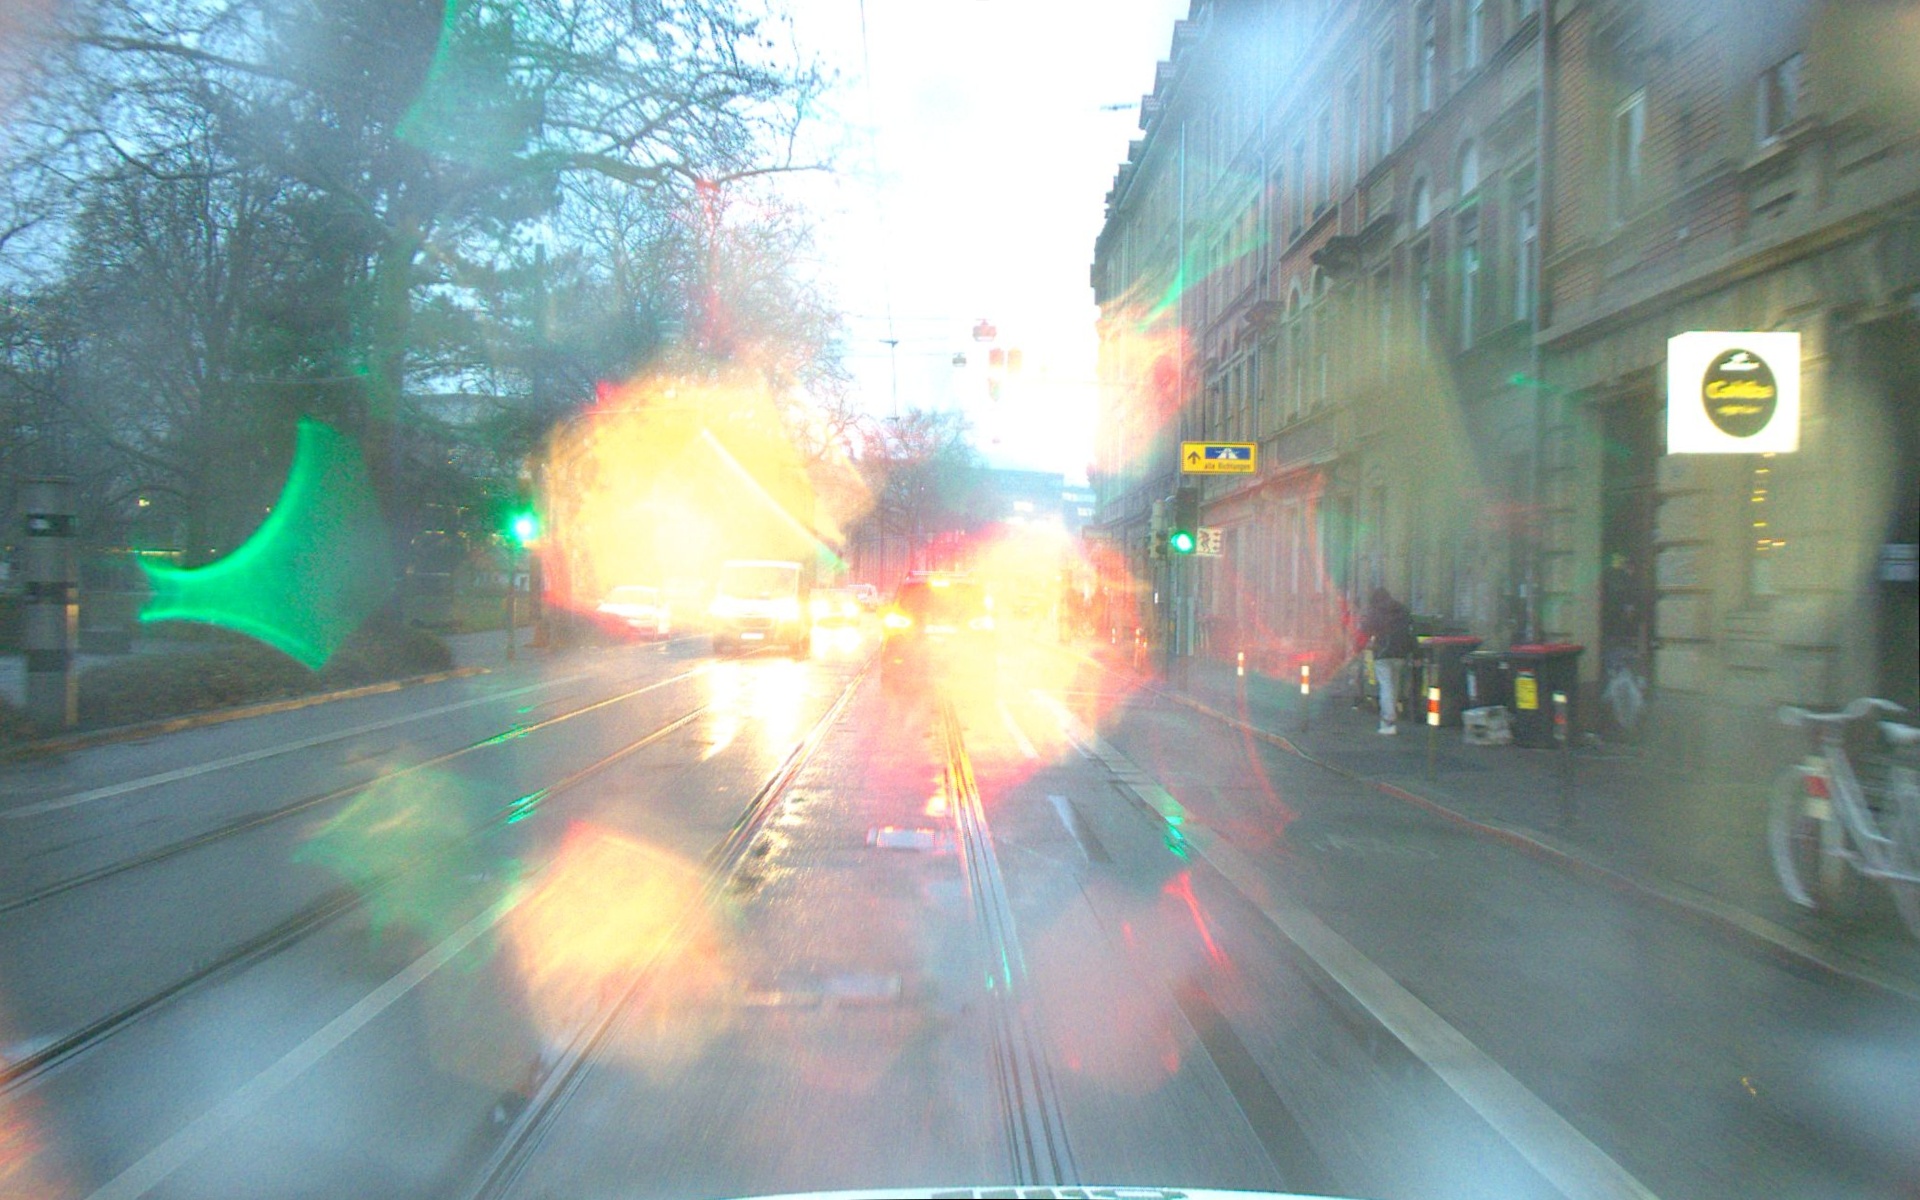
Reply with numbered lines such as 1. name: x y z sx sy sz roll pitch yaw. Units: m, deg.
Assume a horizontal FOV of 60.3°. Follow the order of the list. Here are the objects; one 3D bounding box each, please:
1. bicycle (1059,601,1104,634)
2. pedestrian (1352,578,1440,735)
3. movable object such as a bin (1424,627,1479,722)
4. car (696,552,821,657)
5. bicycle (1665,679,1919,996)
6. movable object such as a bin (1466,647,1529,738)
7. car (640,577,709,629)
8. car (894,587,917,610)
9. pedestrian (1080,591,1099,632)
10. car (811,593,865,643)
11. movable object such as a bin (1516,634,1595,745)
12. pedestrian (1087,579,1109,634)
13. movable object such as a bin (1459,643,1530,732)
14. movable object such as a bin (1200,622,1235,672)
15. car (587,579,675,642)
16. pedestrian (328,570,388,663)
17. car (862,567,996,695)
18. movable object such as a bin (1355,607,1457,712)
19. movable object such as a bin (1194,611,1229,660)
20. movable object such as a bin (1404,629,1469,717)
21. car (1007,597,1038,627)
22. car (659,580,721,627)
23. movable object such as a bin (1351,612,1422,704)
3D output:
1. bicycle: 4.469 0.645 61.070 0.781 1.164 2.230 2 0 -20
2. pedestrian: 4.971 0.630 18.905 0.817 1.731 0.954 1 -1 7
3. movable object such as a bin: 5.921 0.888 19.936 0.598 1.101 0.600 1 0 14
4. car: -4.833 0.109 40.577 2.397 2.388 5.843 0 0 -1
5. bicycle: 4.124 1.013 7.736 0.670 1.176 2.188 1 0 -1
6. movable object such as a bin: 5.740 0.980 17.659 0.482 0.945 0.421 0 0 -28
7. car: -9.806 0.107 57.126 1.945 1.643 4.424 2 0 -5
8. car: -4.871 -0.129 148.928 1.953 2.049 3.999 2 0 -1
9. pedestrian: 5.781 0.496 73.826 0.756 1.806 0.684 1 -1 -1
10. car: -5.238 0.772 71.487 1.952 2.049 4.000 1 0 1
11. movable object such as a bin: 6.146 0.915 17.070 0.605 1.099 0.486 0 0 -30
12. pedestrian: 5.099 0.240 61.295 0.701 1.987 0.657 1 -1 -1
13. movable object such as a bin: 5.882 0.955 18.221 0.599 0.945 0.491 0 0 -3
14. movable object such as a bin: 5.662 1.025 36.443 0.627 1.073 0.744 1 0 -1
15. car: -9.252 0.279 46.844 1.945 1.643 4.424 2 0 -5
16. pedestrian: -12.346 0.335 33.945 0.803 1.847 1.010 1 -1 2
17. car: -0.417 0.459 26.678 1.952 1.874 4.001 1 0 1
18. movable object such as a bin: 5.831 0.762 21.694 0.871 1.311 1.260 0 0 -8
19. movable object such as a bin: 5.652 0.801 37.213 0.627 1.073 0.744 1 0 -1
20. movable object such as a bin: 5.920 0.900 20.585 0.748 1.056 0.600 1 0 14
21. car: 4.168 0.790 110.459 1.952 1.874 4.001 1 0 1
22. car: -10.136 0.122 62.256 1.945 1.643 4.424 2 0 -5
23. movable object such as a bin: 5.894 0.796 22.879 0.749 1.232 0.818 1 0 -1
